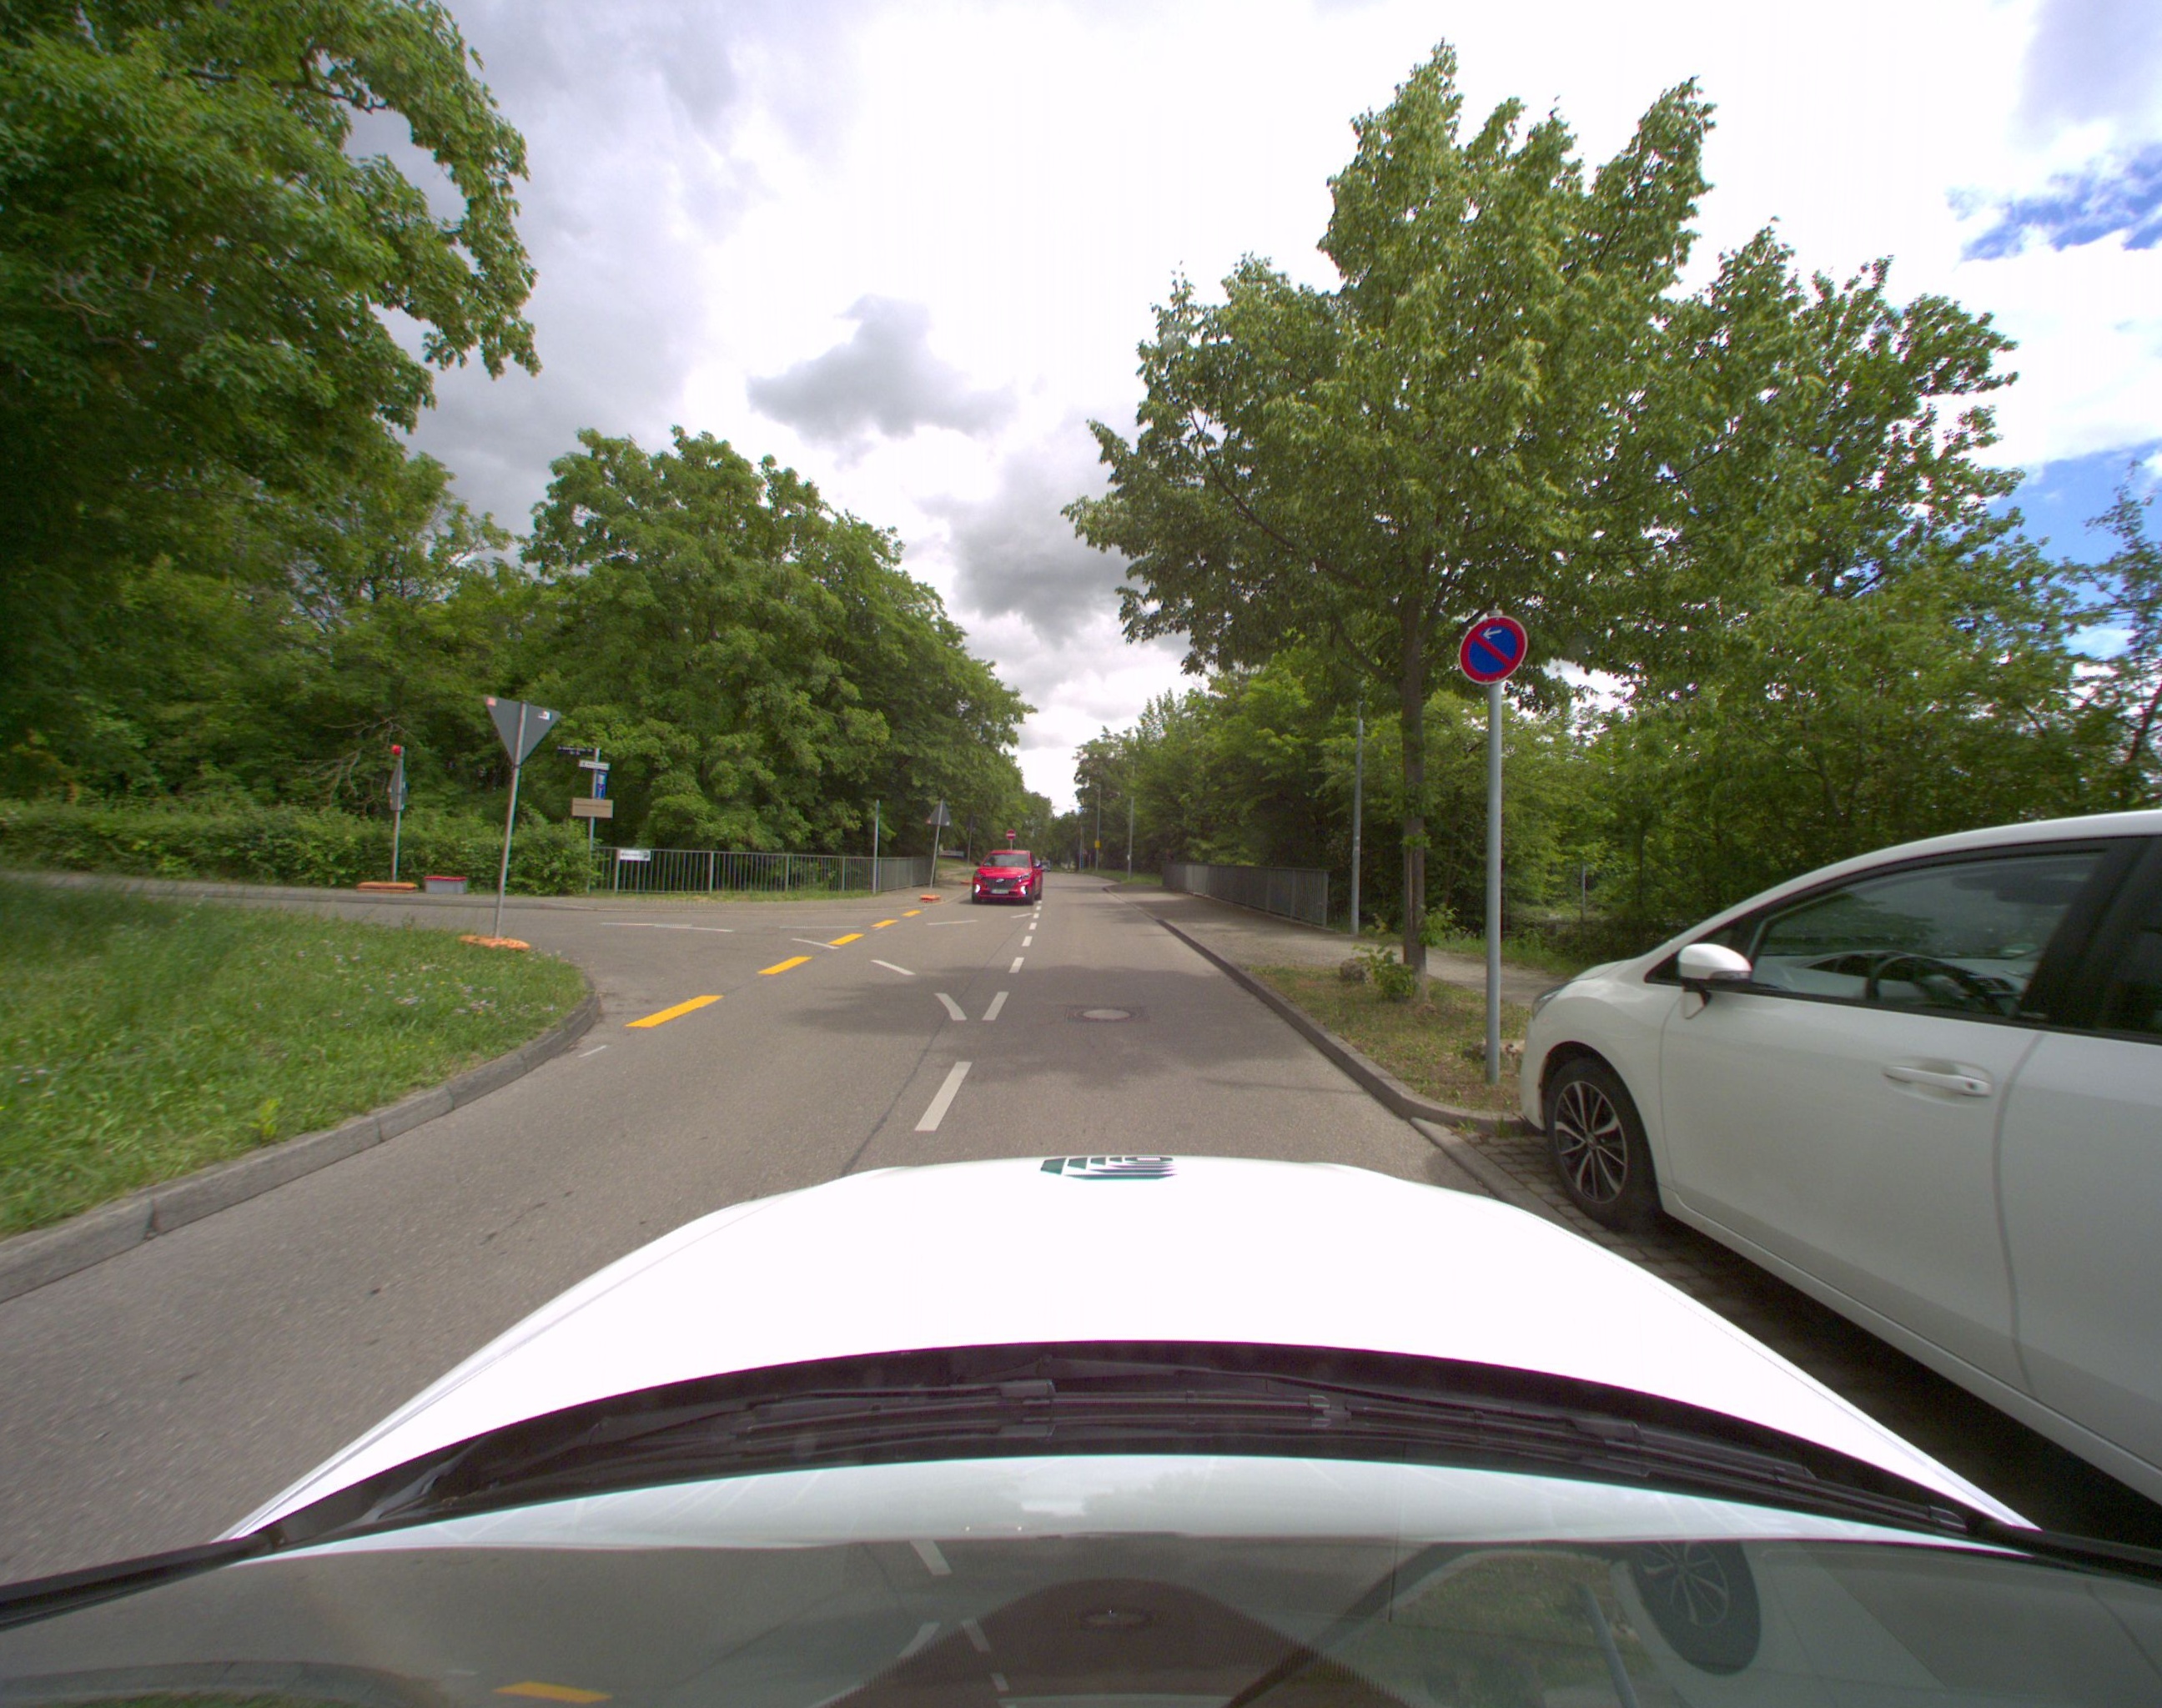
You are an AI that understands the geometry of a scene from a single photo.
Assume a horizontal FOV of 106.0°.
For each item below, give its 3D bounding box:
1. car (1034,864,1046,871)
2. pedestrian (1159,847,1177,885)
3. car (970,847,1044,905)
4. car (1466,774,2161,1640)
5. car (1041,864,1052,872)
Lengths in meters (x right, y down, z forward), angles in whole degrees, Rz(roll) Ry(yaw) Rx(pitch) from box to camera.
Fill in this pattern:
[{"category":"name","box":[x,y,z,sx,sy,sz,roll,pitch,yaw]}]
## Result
[{"category":"car","box":[-9.278,3.120,184.400,1.970,1.384,4.005,3,-1,5]},{"category":"pedestrian","box":[4.178,0.561,38.954,0.589,1.783,0.677,2,-2,-22]},{"category":"car","box":[-2.230,0.635,25.616,1.836,1.659,4.222,0,0,1]},{"category":"car","box":[2.897,0.650,2.067,1.799,1.600,4.371,0,0,0]},{"category":"car","box":[-6.098,2.477,145.255,1.687,1.349,4.094,2,-1,0]}]
